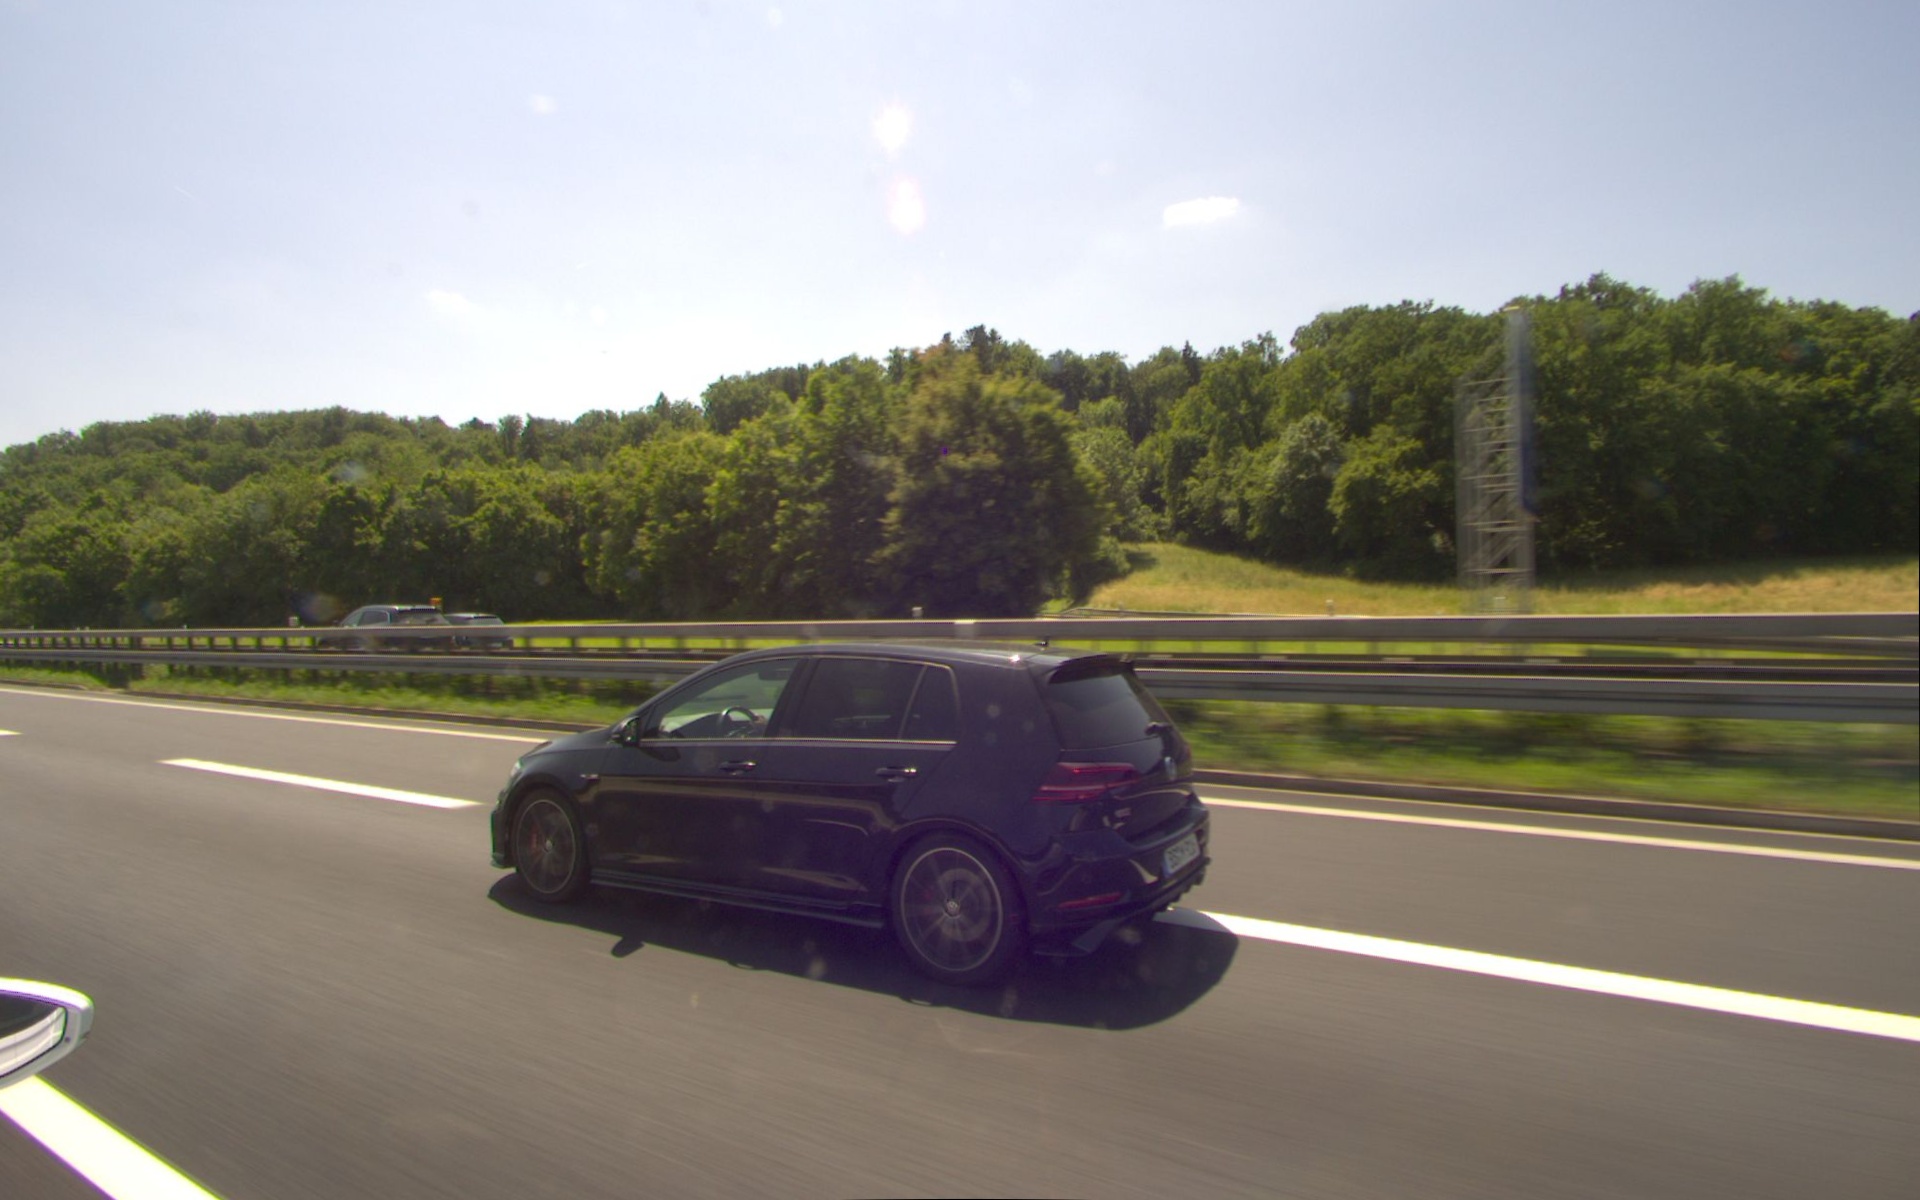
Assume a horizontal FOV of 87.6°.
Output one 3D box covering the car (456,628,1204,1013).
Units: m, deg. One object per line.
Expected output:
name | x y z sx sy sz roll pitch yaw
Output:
car | -0.821 0.907 5.616 3.908 1.454 1.791 -1 -1 31

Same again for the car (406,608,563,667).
car | -14.534 1.126 30.514 5.156 1.683 1.989 -1 -1 34

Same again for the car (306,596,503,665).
car | -14.748 0.813 26.500 5.542 1.683 1.991 -1 -1 30
